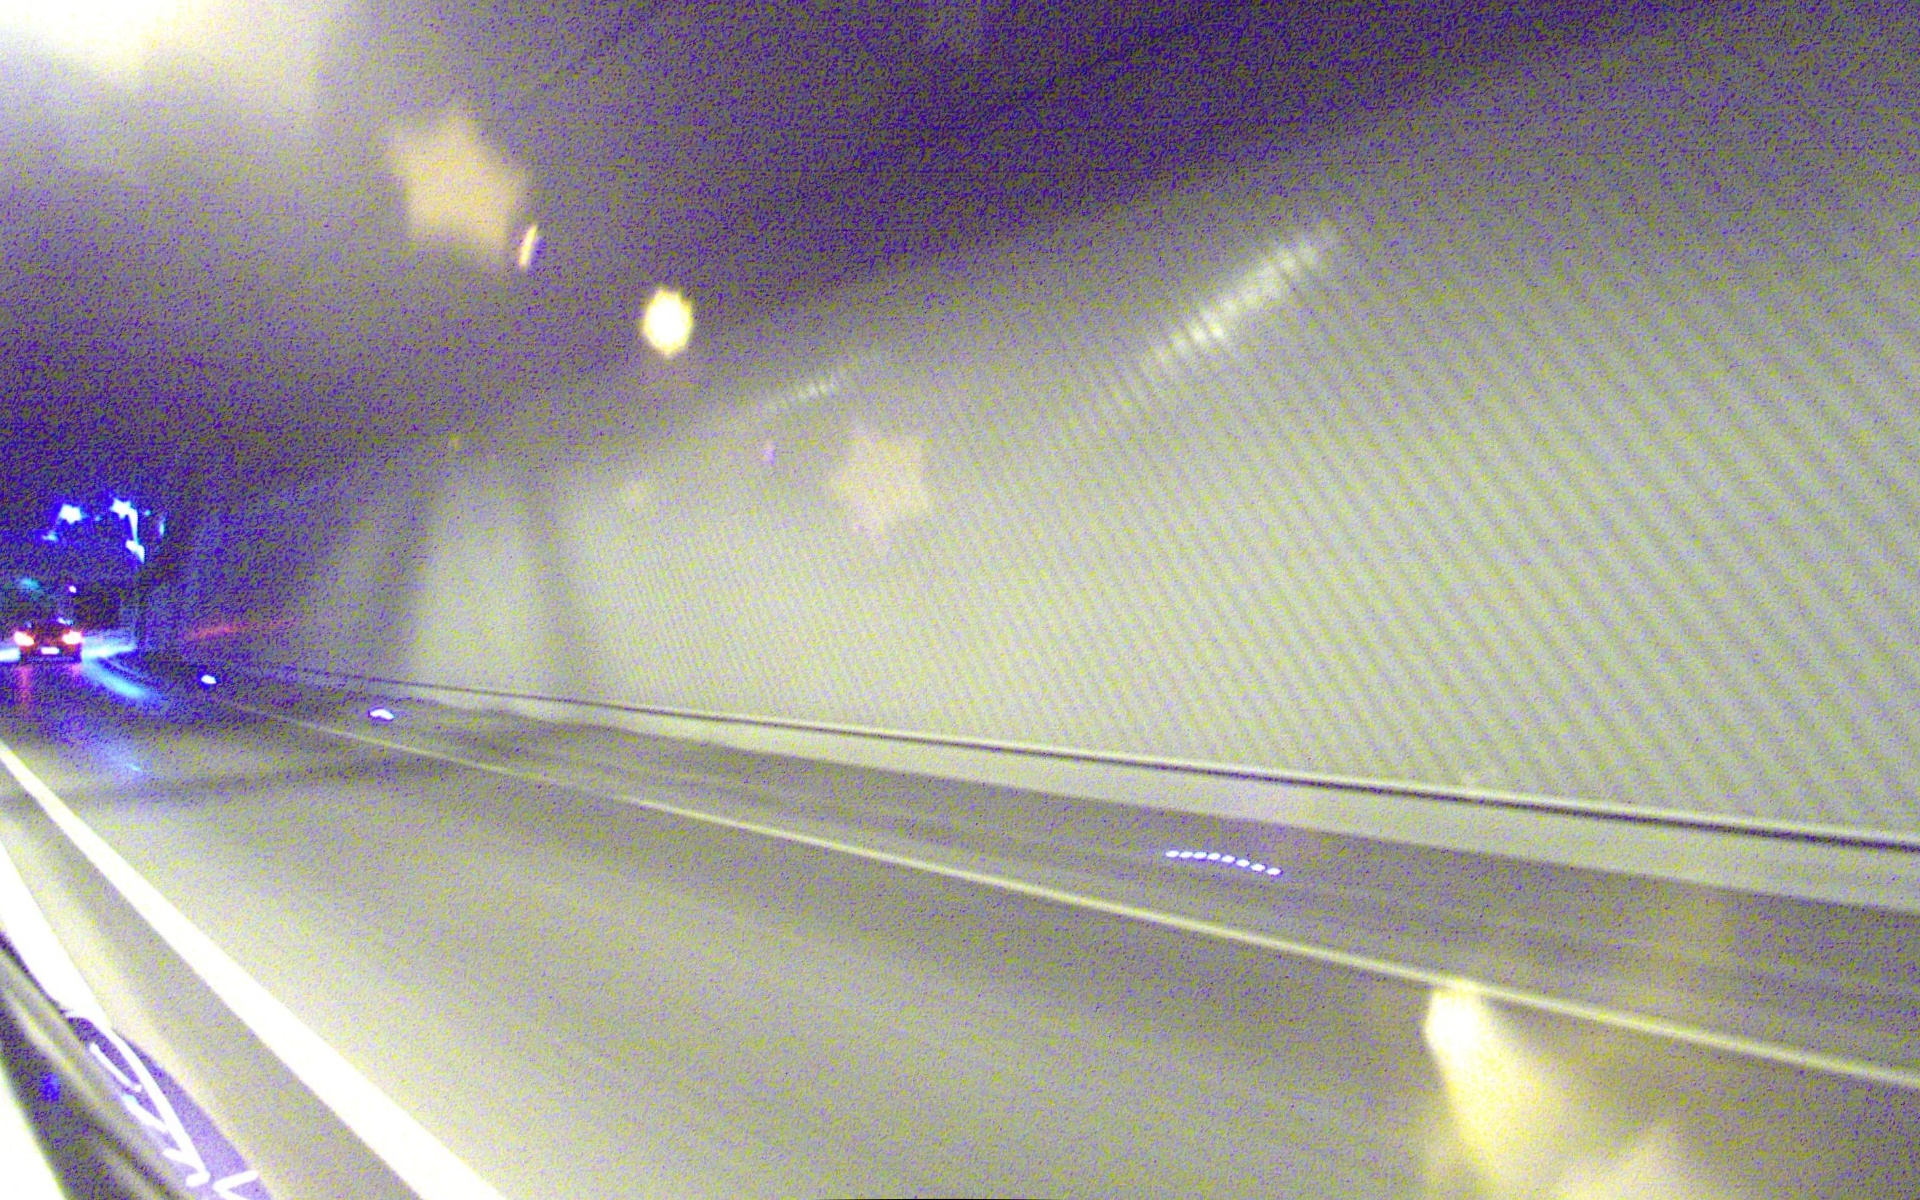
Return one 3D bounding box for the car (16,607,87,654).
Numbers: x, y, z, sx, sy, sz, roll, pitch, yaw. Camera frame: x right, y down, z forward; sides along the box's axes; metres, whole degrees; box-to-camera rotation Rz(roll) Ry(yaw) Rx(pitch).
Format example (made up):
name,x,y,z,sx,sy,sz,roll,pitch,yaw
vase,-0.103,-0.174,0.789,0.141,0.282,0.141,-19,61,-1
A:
name,x,y,z,sx,sy,sz,roll,pitch,yaw
car,-31.634,1.020,35.326,1.695,1.453,4.400,-4,2,-41
